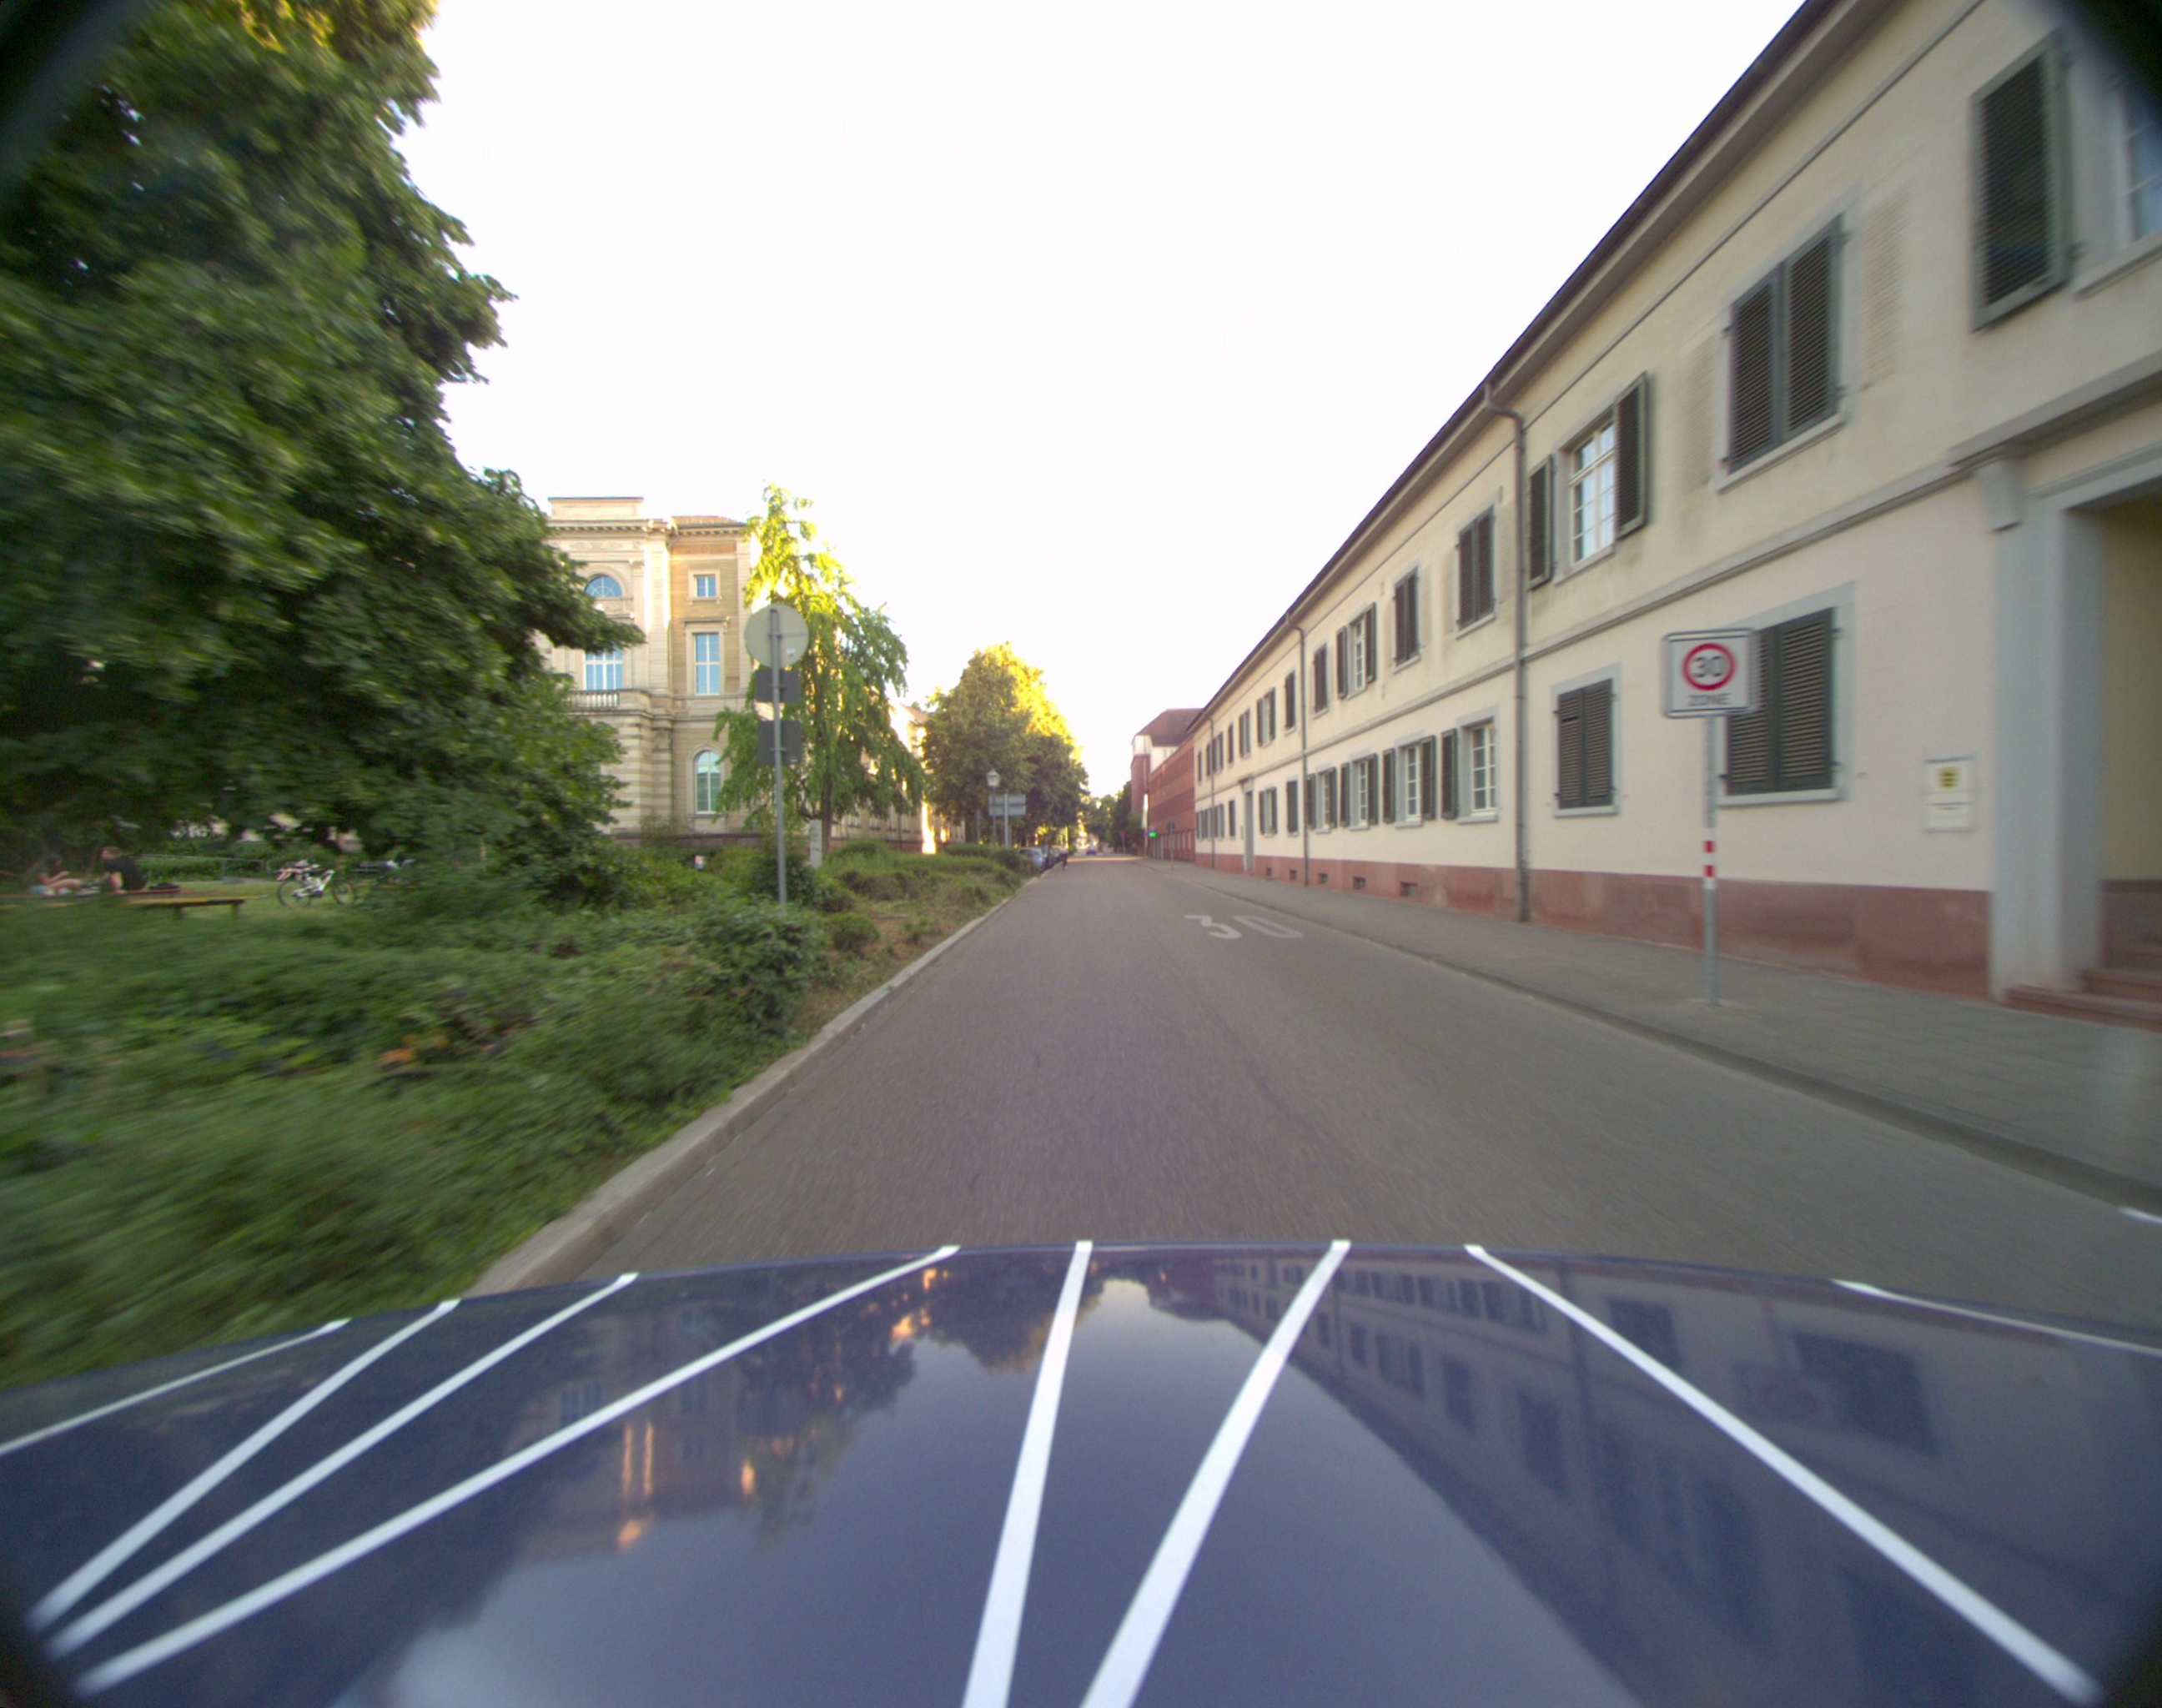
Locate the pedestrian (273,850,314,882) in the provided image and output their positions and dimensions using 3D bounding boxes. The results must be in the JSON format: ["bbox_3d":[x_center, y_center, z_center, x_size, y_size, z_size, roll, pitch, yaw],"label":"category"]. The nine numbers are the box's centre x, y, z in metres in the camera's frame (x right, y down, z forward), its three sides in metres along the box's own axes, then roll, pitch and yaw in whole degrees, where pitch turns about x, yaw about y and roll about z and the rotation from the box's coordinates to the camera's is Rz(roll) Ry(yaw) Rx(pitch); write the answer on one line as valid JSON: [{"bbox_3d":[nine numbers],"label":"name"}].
[{"bbox_3d":[-34.657,0.511,33.448,0.695,1.389,1.044,0,1,1],"label":"pedestrian"}]

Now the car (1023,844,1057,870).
[{"bbox_3d":[-2.712,0.156,50.798,1.728,1.642,4.713,0,2,3],"label":"car"}]

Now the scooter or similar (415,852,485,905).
[{"bbox_3d":[-15.243,0.584,18.379,1.221,1.238,0.418,-1,2,-12],"label":"scooter or similar"}]

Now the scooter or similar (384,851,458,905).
[{"bbox_3d":[-15.404,0.551,17.763,1.221,1.238,0.417,-1,2,-16],"label":"scooter or similar"}]

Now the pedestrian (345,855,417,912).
[{"bbox_3d":[-15.173,0.629,16.493,0.808,1.185,0.789,0,1,4],"label":"pedestrian"}]

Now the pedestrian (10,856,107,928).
[{"bbox_3d":[-19.795,0.710,14.735,0.762,1.340,0.786,-1,1,-16],"label":"pedestrian"}]

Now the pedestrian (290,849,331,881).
[{"bbox_3d":[-33.775,0.479,33.302,0.695,1.389,1.044,0,1,1],"label":"pedestrian"}]

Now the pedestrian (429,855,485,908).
[{"bbox_3d":[-14.588,0.621,17.775,0.663,1.185,0.796,0,2,28],"label":"pedestrian"}]

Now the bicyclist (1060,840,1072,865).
[{"bbox_3d":[-0.975,-0.110,49.000,0.753,1.603,1.038,0,1,-2],"label":"bicyclist"}]

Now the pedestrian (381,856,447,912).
[{"bbox_3d":[-14.394,0.633,16.411,0.724,1.185,0.747,0,1,4],"label":"pedestrian"}]

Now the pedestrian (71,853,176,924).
[{"bbox_3d":[-18.984,0.665,15.092,0.920,1.340,0.883,-1,1,-15],"label":"pedestrian"}]

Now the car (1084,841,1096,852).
[{"bbox_3d":[1.760,-1.393,144.699,1.999,1.863,5.108,-1,-1,-3],"label":"car"}]

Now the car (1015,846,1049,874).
[{"bbox_3d":[-2.851,0.316,45.052,1.728,1.480,4.609,3,1,-1],"label":"car"}]

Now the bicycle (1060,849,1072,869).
[{"bbox_3d":[-0.997,0.293,48.987,0.753,1.245,2.209,0,0,-2],"label":"bicycle"}]

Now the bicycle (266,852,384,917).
[{"bbox_3d":[-16.333,0.620,16.494,0.621,1.292,2.018,0,1,-4],"label":"bicycle"}]

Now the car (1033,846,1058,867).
[{"bbox_3d":[-2.631,0.190,56.991,1.728,1.529,4.189,0,1,0],"label":"car"}]

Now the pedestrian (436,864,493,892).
[{"bbox_3d":[-13.922,0.531,17.189,0.542,0.546,1.375,2,0,-19],"label":"pedestrian"}]

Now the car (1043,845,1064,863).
[{"bbox_3d":[-2.649,-0.048,73.209,1.739,1.498,4.521,3,2,0],"label":"car"}]
